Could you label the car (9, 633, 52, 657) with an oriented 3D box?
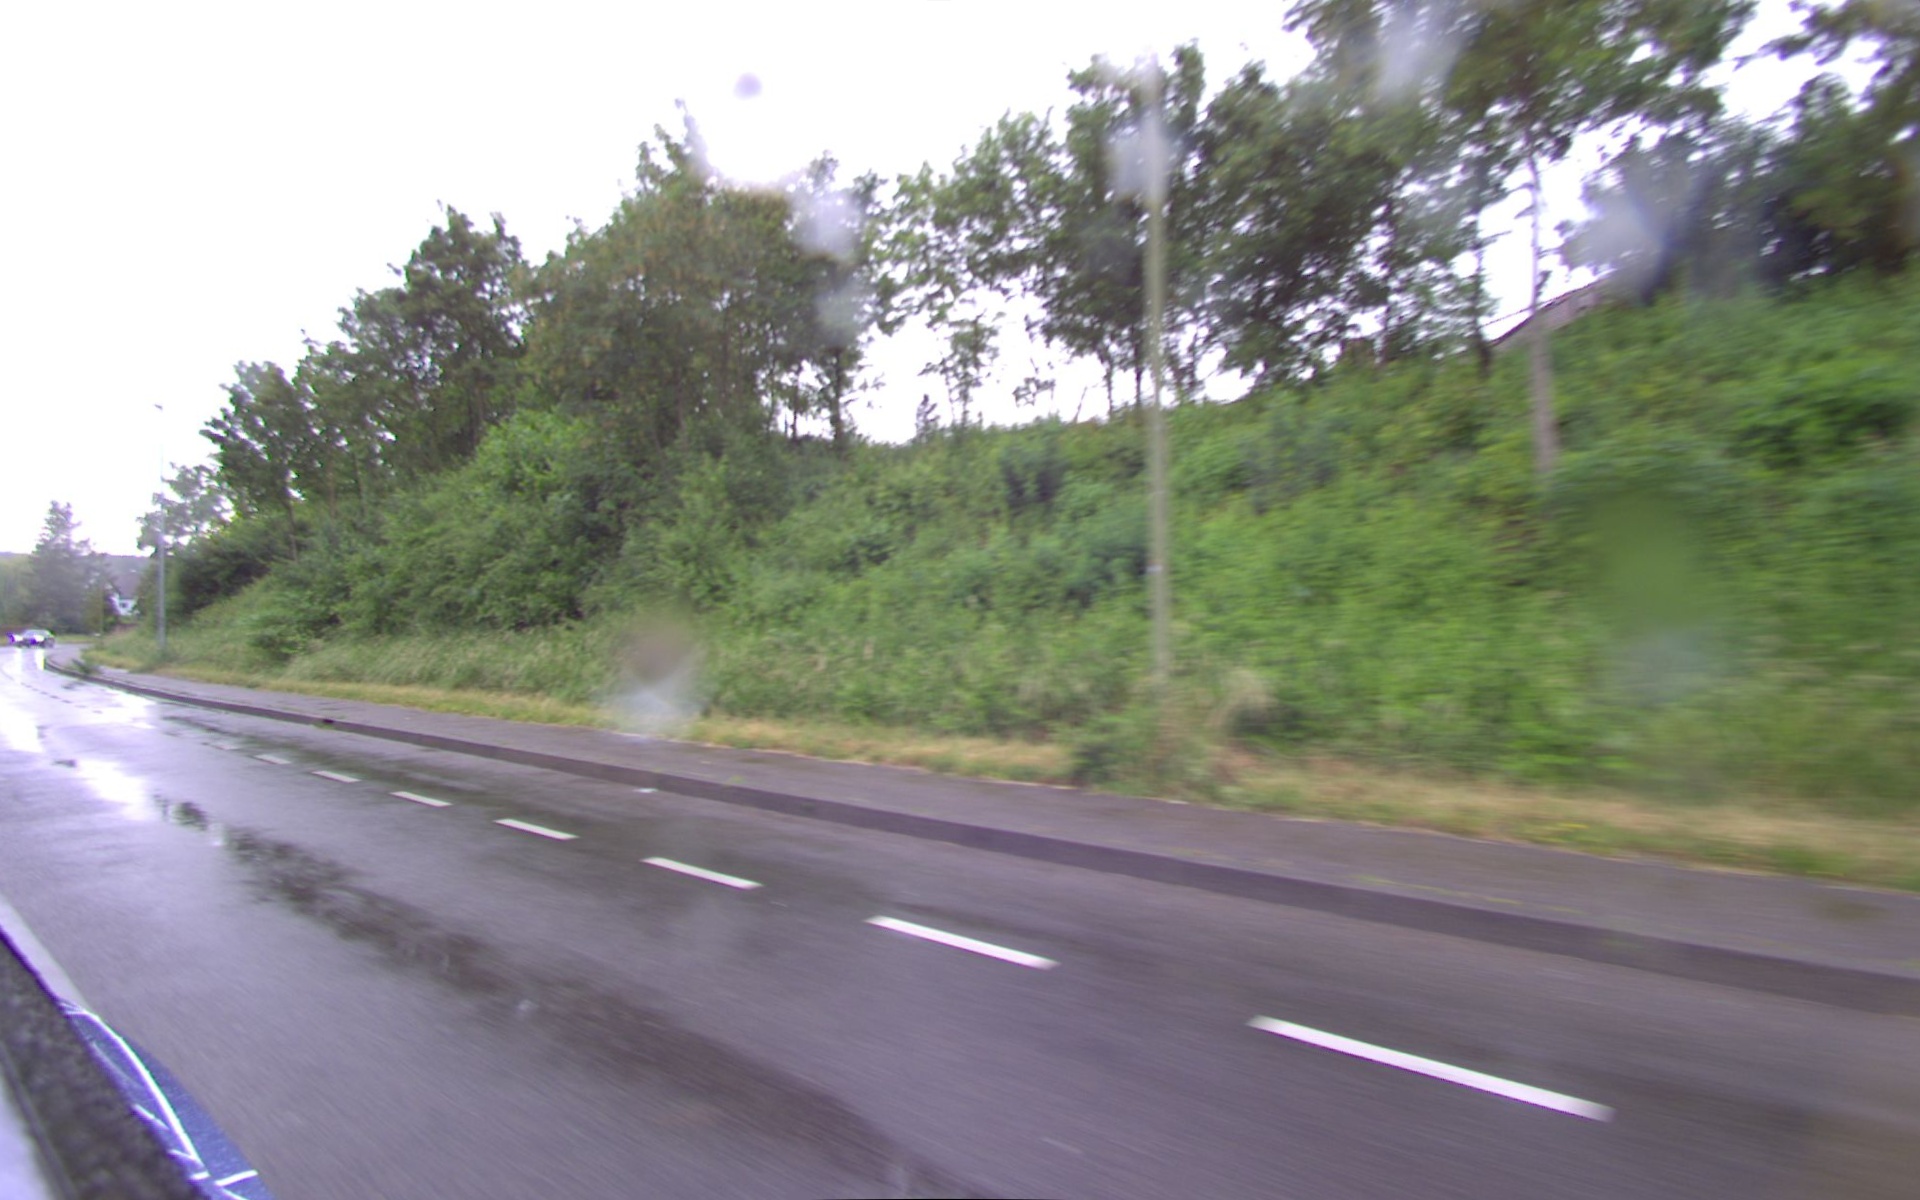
[{"bbox_3d":[-78.030,3.737,85.014,1.966,1.856,4.011,-1,-1,-32],"label":"car"}]
